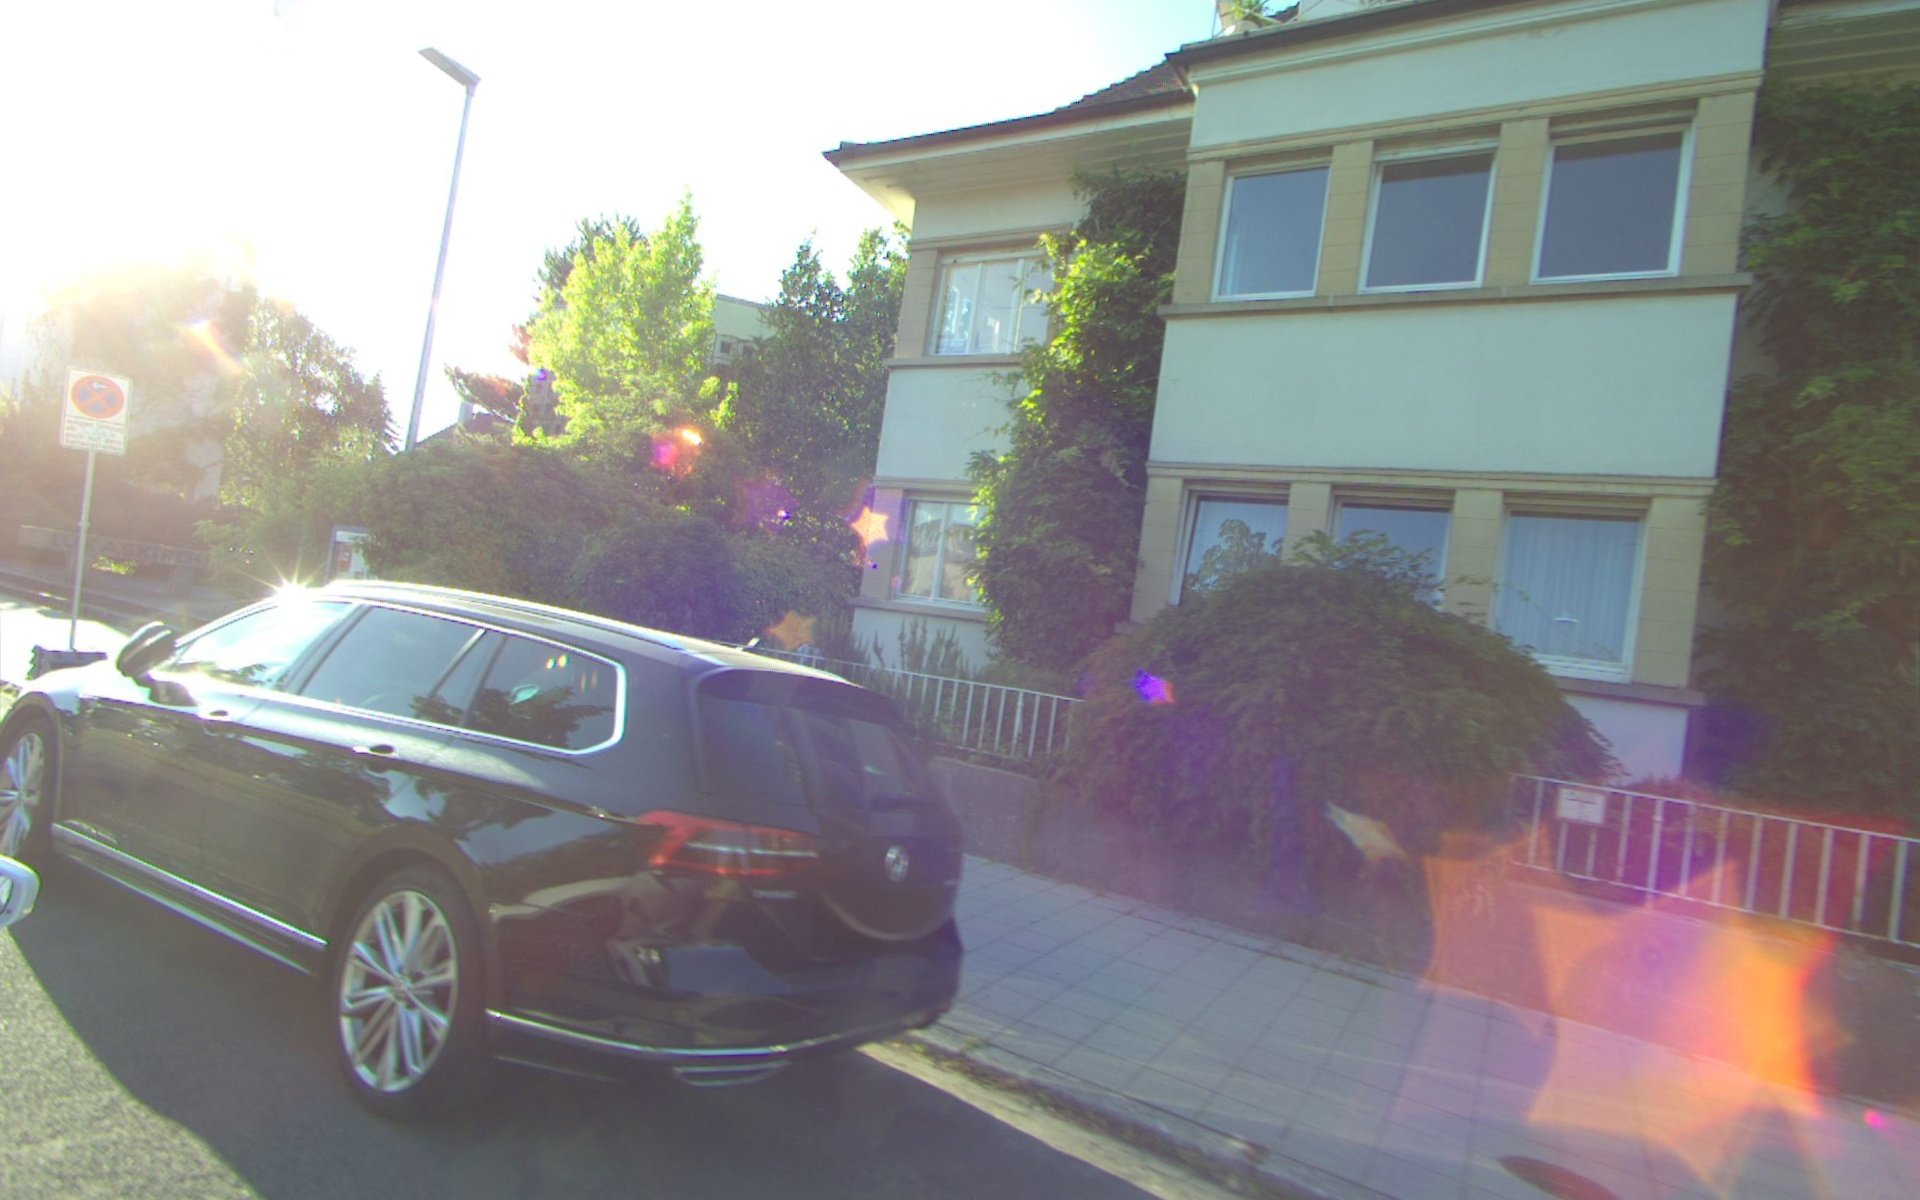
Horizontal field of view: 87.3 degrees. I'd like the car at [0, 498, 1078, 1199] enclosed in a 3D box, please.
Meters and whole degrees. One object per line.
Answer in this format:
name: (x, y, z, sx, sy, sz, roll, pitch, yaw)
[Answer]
car: (-2.190, 0.703, 4.313, 4.804, 1.611, 2.003, 6, -7, 30)
